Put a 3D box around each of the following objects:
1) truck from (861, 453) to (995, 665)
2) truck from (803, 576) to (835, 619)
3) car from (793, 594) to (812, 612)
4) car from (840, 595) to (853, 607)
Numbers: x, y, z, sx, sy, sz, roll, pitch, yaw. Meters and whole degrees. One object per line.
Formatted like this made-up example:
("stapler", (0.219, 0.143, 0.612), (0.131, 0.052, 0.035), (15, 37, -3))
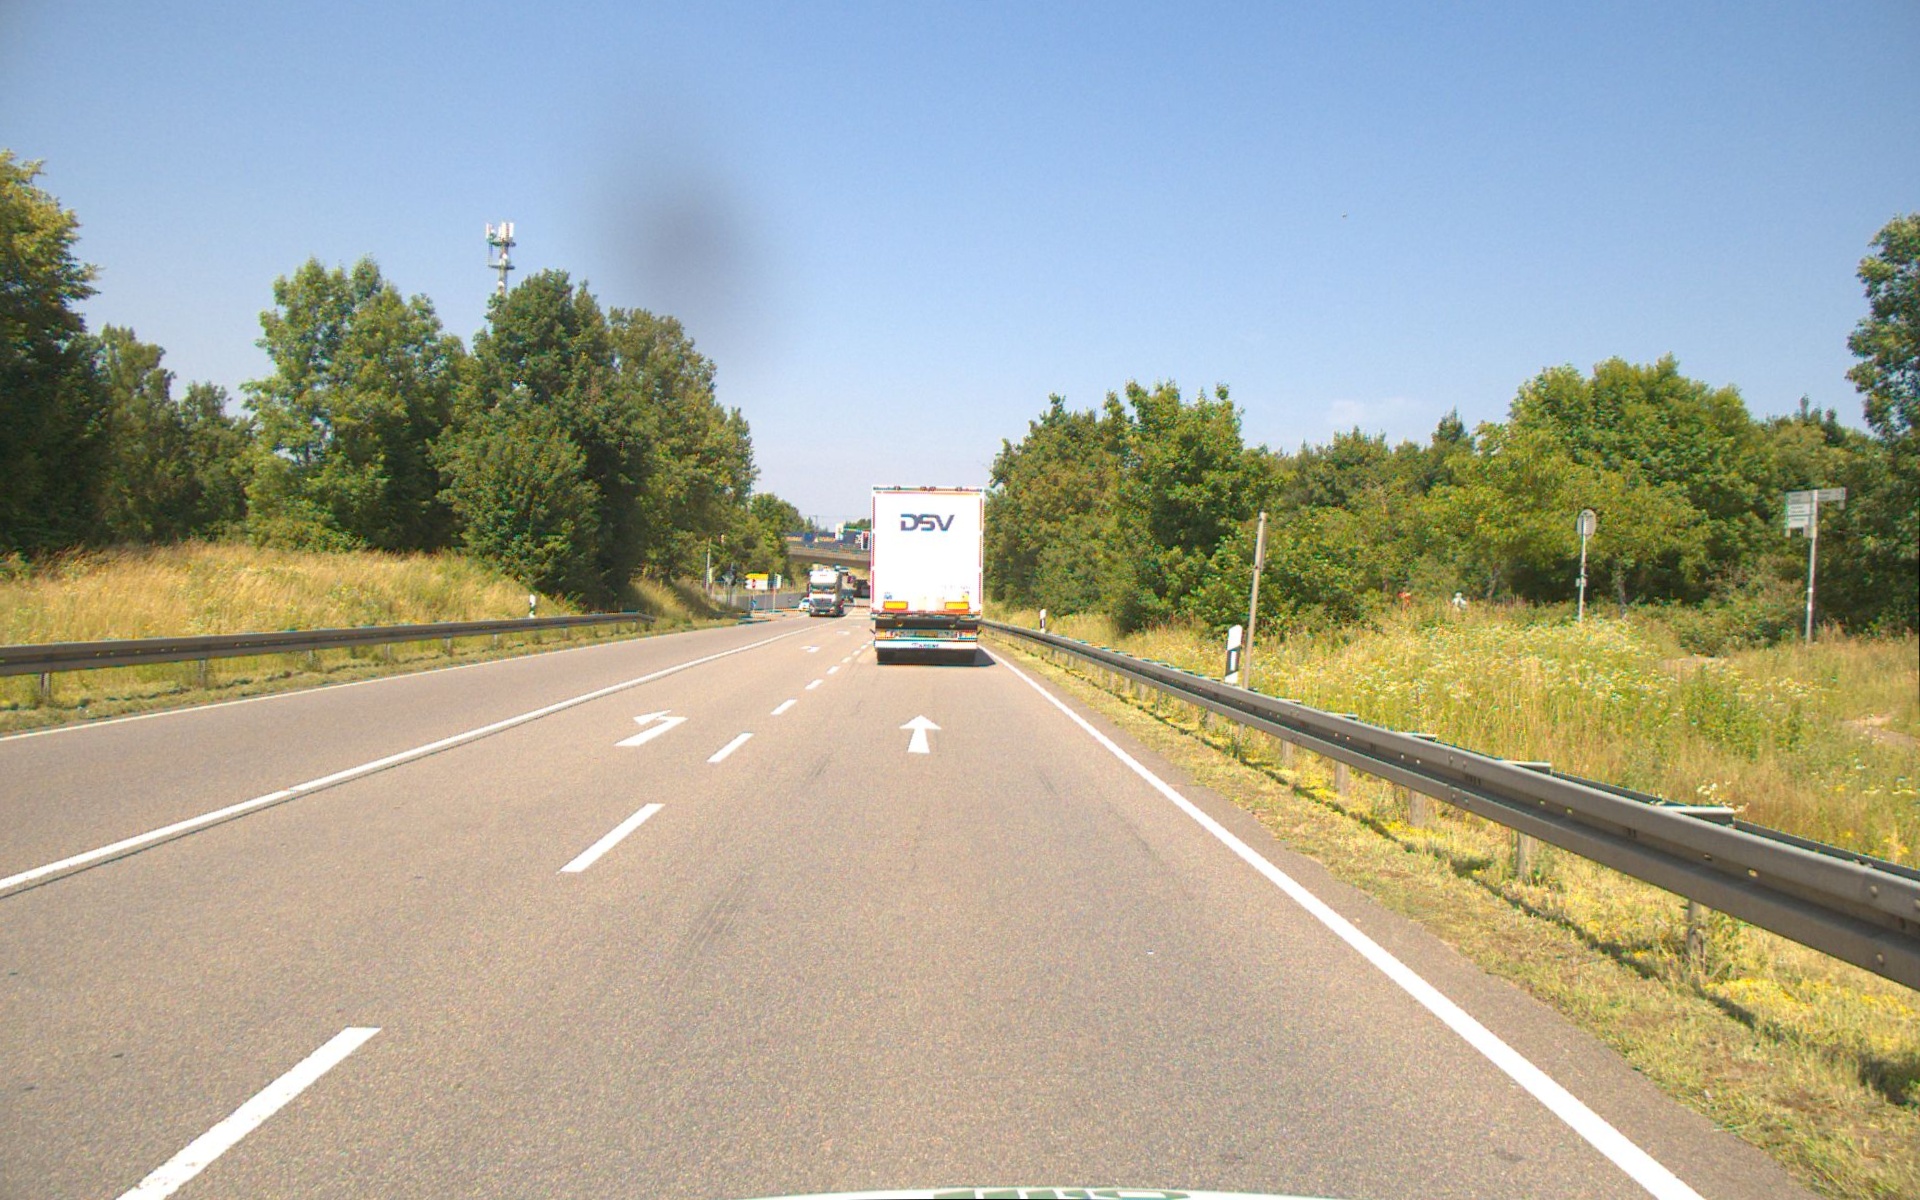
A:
("truck", (-0.780, -0.892, 41.481), (2.890, 4.648, 9.860), (1, 0, -1))
("truck", (-13.132, -0.283, 154.433), (2.306, 3.815, 12.619), (1, 0, -2))
("car", (-16.890, 0.339, 177.622), (1.768, 1.904, 4.411), (1, 0, -8))
("car", (-16.406, 0.124, 238.762), (1.712, 1.654, 3.701), (1, 0, -3))
